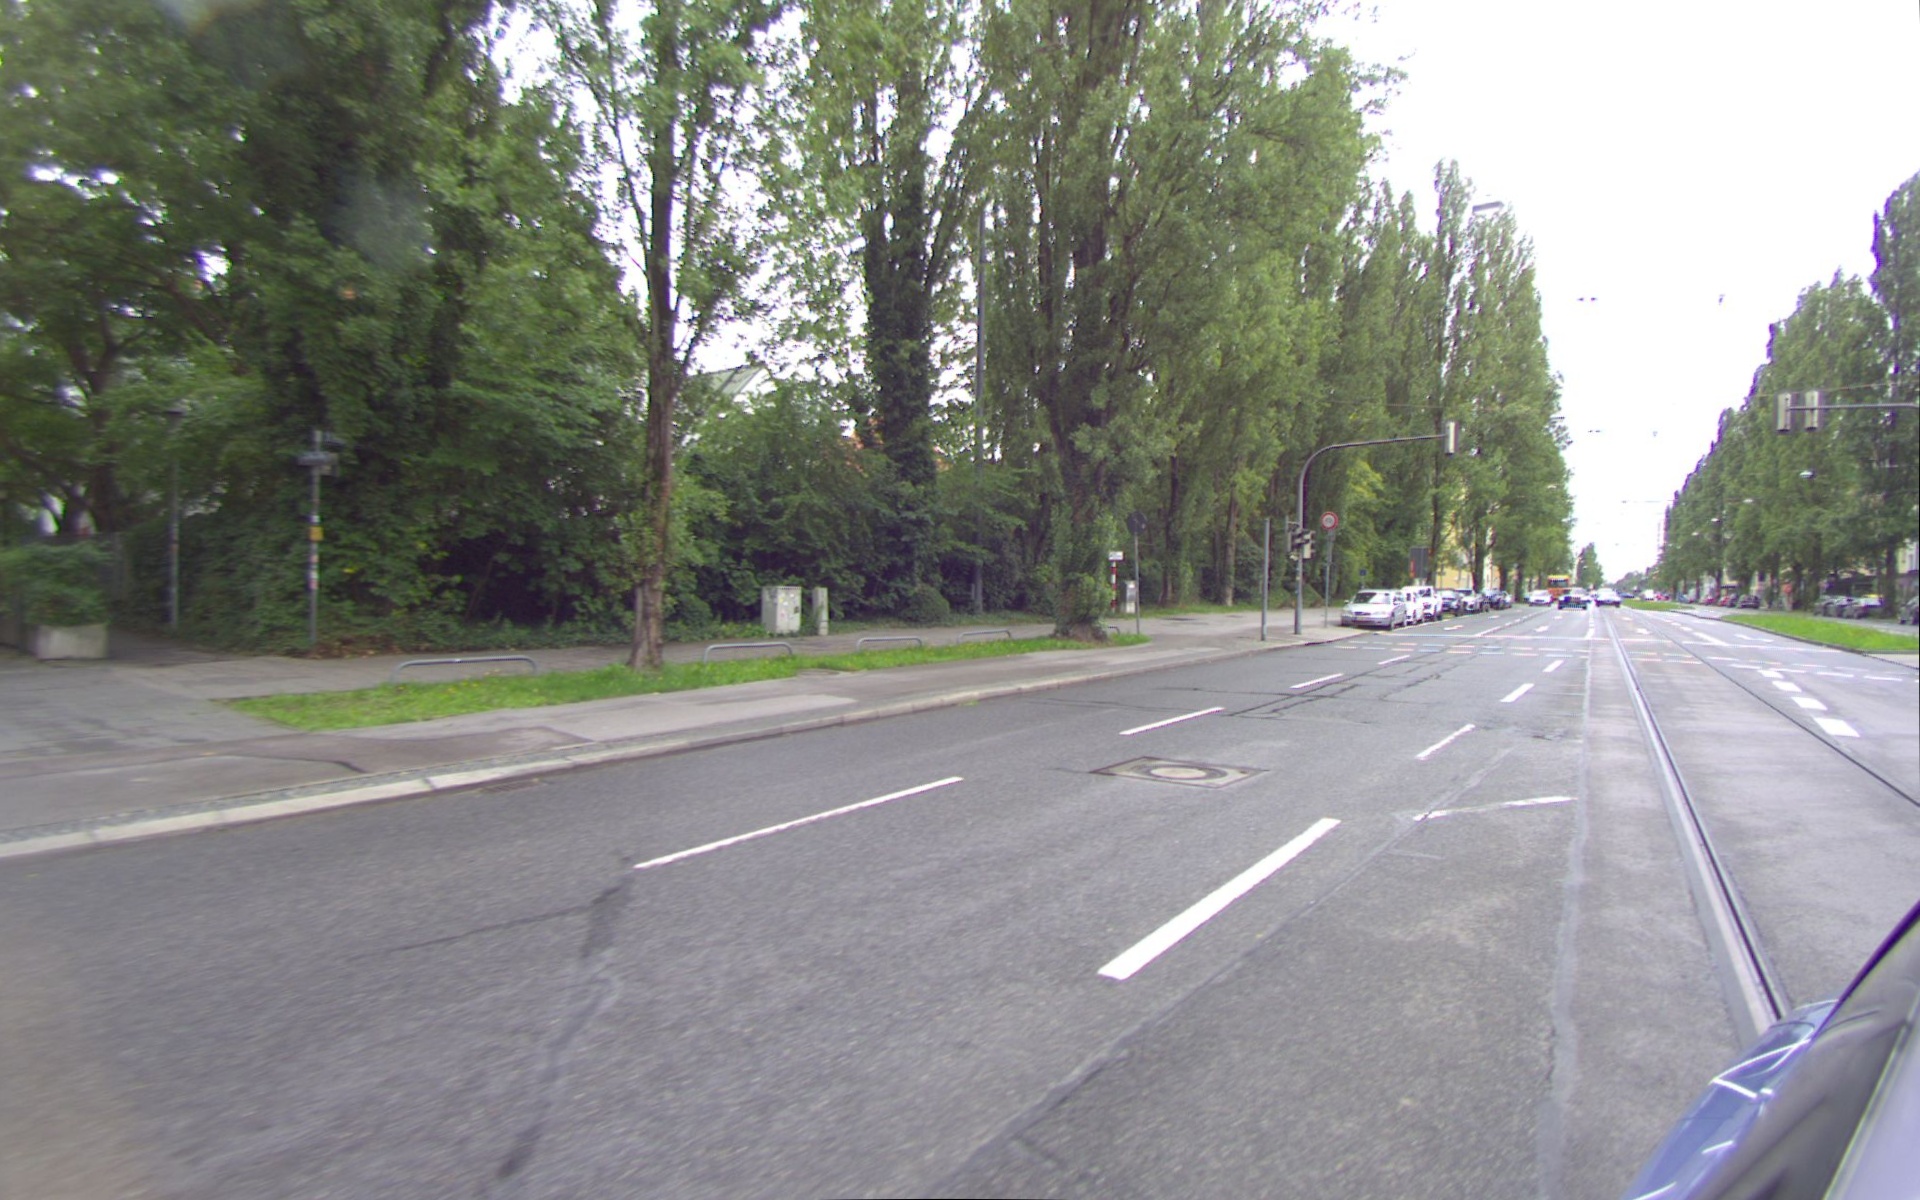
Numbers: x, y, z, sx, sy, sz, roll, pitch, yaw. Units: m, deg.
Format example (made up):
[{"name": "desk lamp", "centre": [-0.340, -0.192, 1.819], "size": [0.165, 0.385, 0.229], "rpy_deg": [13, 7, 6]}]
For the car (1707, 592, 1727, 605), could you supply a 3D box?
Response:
[{"name": "car", "centre": [113.383, -0.230, 151.656], "size": [1.984, 1.727, 3.955], "rpy_deg": [1, 0, 31]}]

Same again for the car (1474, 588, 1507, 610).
[{"name": "car", "centre": [39.816, -0.110, 75.877], "size": [1.774, 1.504, 4.090], "rpy_deg": [1, 2, 33]}]

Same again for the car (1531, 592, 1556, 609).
[{"name": "car", "centre": [55.341, 0.058, 95.998], "size": [1.774, 1.504, 4.090], "rpy_deg": [1, 2, 33]}]

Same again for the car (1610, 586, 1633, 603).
[{"name": "car", "centre": [62.499, -0.520, 95.646], "size": [1.774, 1.504, 4.090], "rpy_deg": [1, 2, 33]}]

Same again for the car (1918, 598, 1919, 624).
[{"name": "car", "centre": [51.117, 0.637, 52.210], "size": [1.719, 1.424, 4.158], "rpy_deg": [2, 2, 33]}]

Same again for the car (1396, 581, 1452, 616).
[{"name": "car", "centre": [21.450, -0.111, 46.712], "size": [1.774, 1.504, 4.090], "rpy_deg": [1, 2, 33]}]

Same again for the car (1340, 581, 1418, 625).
[{"name": "car", "centre": [15.668, 0.057, 37.722], "size": [1.775, 1.504, 4.298], "rpy_deg": [1, 2, 35]}]

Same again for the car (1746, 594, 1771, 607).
[{"name": "car", "centre": [91.737, 0.061, 116.304], "size": [1.804, 1.488, 3.955], "rpy_deg": [1, 0, 31]}]

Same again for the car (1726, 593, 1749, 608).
[{"name": "car", "centre": [96.693, 0.109, 125.829], "size": [1.804, 1.739, 3.955], "rpy_deg": [1, -1, 31]}]

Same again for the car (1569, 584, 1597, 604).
[{"name": "car", "centre": [49.187, -0.497, 79.891], "size": [1.774, 1.504, 4.090], "rpy_deg": [1, 2, 33]}]

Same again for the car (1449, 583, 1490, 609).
[{"name": "car", "centre": [31.029, -0.268, 61.543], "size": [1.774, 1.504, 4.090], "rpy_deg": [1, 2, 33]}]

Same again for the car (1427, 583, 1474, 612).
[{"name": "car", "centre": [26.915, -0.175, 55.442], "size": [1.774, 1.504, 4.090], "rpy_deg": [1, 2, 33]}]

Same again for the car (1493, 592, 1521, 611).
[{"name": "car", "centre": [46.254, 0.088, 85.566], "size": [1.774, 1.504, 4.090], "rpy_deg": [1, 2, 33]}]

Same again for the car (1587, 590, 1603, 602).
[{"name": "car", "centre": [85.168, -0.535, 135.733], "size": [1.774, 1.504, 4.090], "rpy_deg": [1, 2, 33]}]

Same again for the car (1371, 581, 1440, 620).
[{"name": "car", "centre": [18.699, -0.014, 42.390], "size": [1.776, 1.504, 4.203], "rpy_deg": [1, 2, 36]}]
